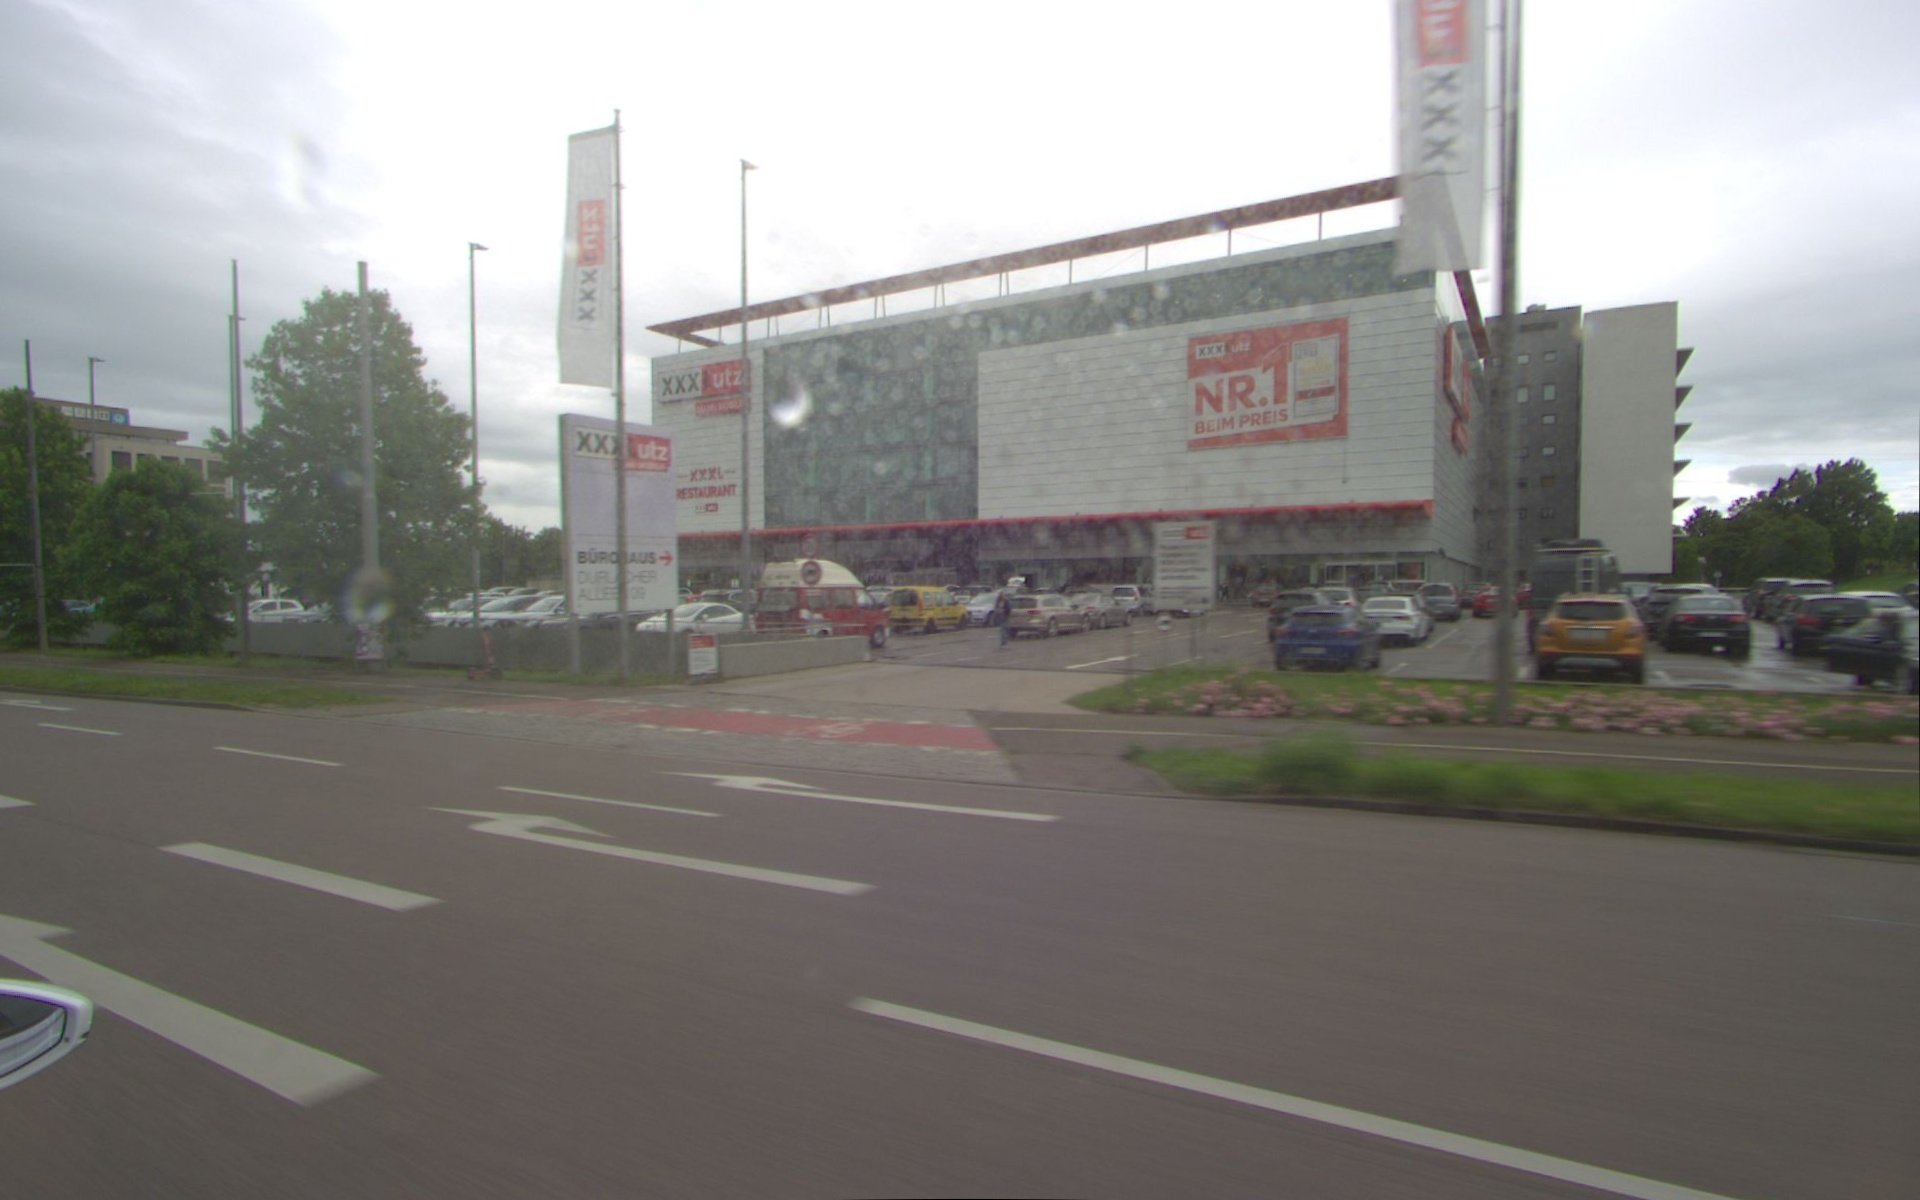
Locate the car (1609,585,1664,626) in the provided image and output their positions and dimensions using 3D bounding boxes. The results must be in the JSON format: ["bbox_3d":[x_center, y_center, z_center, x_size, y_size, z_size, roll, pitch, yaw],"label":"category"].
[{"bbox_3d":[29.744,0.226,44.113,1.923,1.676,3.976,-1,1,33],"label":"car"}]

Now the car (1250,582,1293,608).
[{"bbox_3d":[19.623,-0.311,63.000,1.698,1.497,3.520,2,1,32],"label":"car"}]

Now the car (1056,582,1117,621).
[{"bbox_3d":[6.722,0.077,52.870,1.905,1.951,3.983,-1,0,28],"label":"car"}]

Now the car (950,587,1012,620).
[{"bbox_3d":[1.236,0.222,57.250,1.760,1.844,3.980,0,0,31],"label":"car"}]

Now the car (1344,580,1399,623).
[{"bbox_3d":[18.506,0.027,44.905,1.826,1.800,4.178,1,2,29],"label":"car"}]

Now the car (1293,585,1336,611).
[{"bbox_3d":[21.727,-0.125,61.272,1.698,1.497,3.520,2,1,32],"label":"car"}]

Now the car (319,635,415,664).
[{"bbox_3d":[-31.035,2.558,52.524,1.737,1.368,4.049,0,-1,30],"label":"car"}]

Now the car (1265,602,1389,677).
[{"bbox_3d":[8.128,0.793,21.992,1.788,1.474,3.979,-1,0,32],"label":"car"}]

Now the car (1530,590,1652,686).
[{"bbox_3d":[12.392,0.661,19.561,1.791,1.665,3.974,-1,0,35],"label":"car"}]

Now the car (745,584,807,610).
[{"bbox_3d":[-11.783,-0.192,64.324,1.719,1.575,3.781,2,1,36],"label":"car"}]

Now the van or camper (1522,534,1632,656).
[{"bbox_3d":[17.053,-0.134,27.536,1.966,3.023,5.358,0,0,38],"label":"van or camper"}]

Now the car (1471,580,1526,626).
[{"bbox_3d":[24.838,0.161,46.147,1.972,2.040,3.978,-1,0,32],"label":"car"}]

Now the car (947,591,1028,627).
[{"bbox_3d":[1.259,0.382,43.838,1.761,1.514,3.978,0,0,33],"label":"car"}]

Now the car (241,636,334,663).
[{"bbox_3d":[-37.817,2.776,56.405,1.739,1.368,4.045,0,-1,32],"label":"car"}]

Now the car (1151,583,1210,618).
[{"bbox_3d":[11.018,0.048,49.851,1.807,1.676,3.982,-1,0,29],"label":"car"}]

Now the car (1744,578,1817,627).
[{"bbox_3d":[34.098,0.091,41.701,1.923,1.954,3.976,-1,1,33],"label":"car"}]

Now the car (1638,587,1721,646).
[{"bbox_3d":[22.101,0.462,30.890,1.859,1.692,3.977,0,1,33],"label":"car"}]

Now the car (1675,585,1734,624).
[{"bbox_3d":[32.177,0.158,43.368,1.753,1.552,3.977,0,1,33],"label":"car"}]

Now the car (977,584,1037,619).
[{"bbox_3d":[2.665,0.093,55.575,1.859,1.846,3.985,-1,0,27],"label":"car"}]

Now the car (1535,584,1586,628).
[{"bbox_3d":[27.212,0.248,45.324,1.795,1.842,3.976,-1,1,33],"label":"car"}]

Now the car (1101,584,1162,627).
[{"bbox_3d":[8.896,0.273,51.599,1.884,2.084,3.983,2,1,29],"label":"car"}]

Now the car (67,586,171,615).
[{"bbox_3d":[-46.947,0.000,55.975,1.783,1.545,4.064,1,1,28],"label":"car"}]

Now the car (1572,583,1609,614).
[{"bbox_3d":[34.084,-0.108,54.131,1.627,1.581,3.595,1,2,32],"label":"car"}]

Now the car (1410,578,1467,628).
[{"bbox_3d":[20.950,0.133,43.781,1.856,2.074,3.980,-1,0,31],"label":"car"}]

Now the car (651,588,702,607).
[{"bbox_3d":[-21.571,-0.202,76.279,1.678,1.395,3.584,2,1,34],"label":"car"}]

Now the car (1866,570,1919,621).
[{"bbox_3d":[38.331,-0.178,40.161,1.969,1.976,3.984,-1,0,27],"label":"car"}]

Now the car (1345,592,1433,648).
[{"bbox_3d":[13.046,0.578,30.326,1.837,1.572,3.978,-1,0,33],"label":"car"}]

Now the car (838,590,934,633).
[{"bbox_3d":[-2.948,0.425,40.586,1.852,1.617,3.979,2,1,32],"label":"car"}]

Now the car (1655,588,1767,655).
[{"bbox_3d":[19.560,0.535,26.248,1.971,1.589,3.979,-1,0,32],"label":"car"}]

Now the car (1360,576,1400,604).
[{"bbox_3d":[25.044,-0.612,59.658,1.627,1.581,3.595,1,2,32],"label":"car"}]

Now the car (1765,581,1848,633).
[{"bbox_3d":[31.427,0.212,37.299,1.839,1.805,4.198,0,1,33],"label":"car"}]

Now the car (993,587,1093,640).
[{"bbox_3d":[3.090,0.431,36.451,1.807,1.606,4.399,2,4,33],"label":"car"}]
